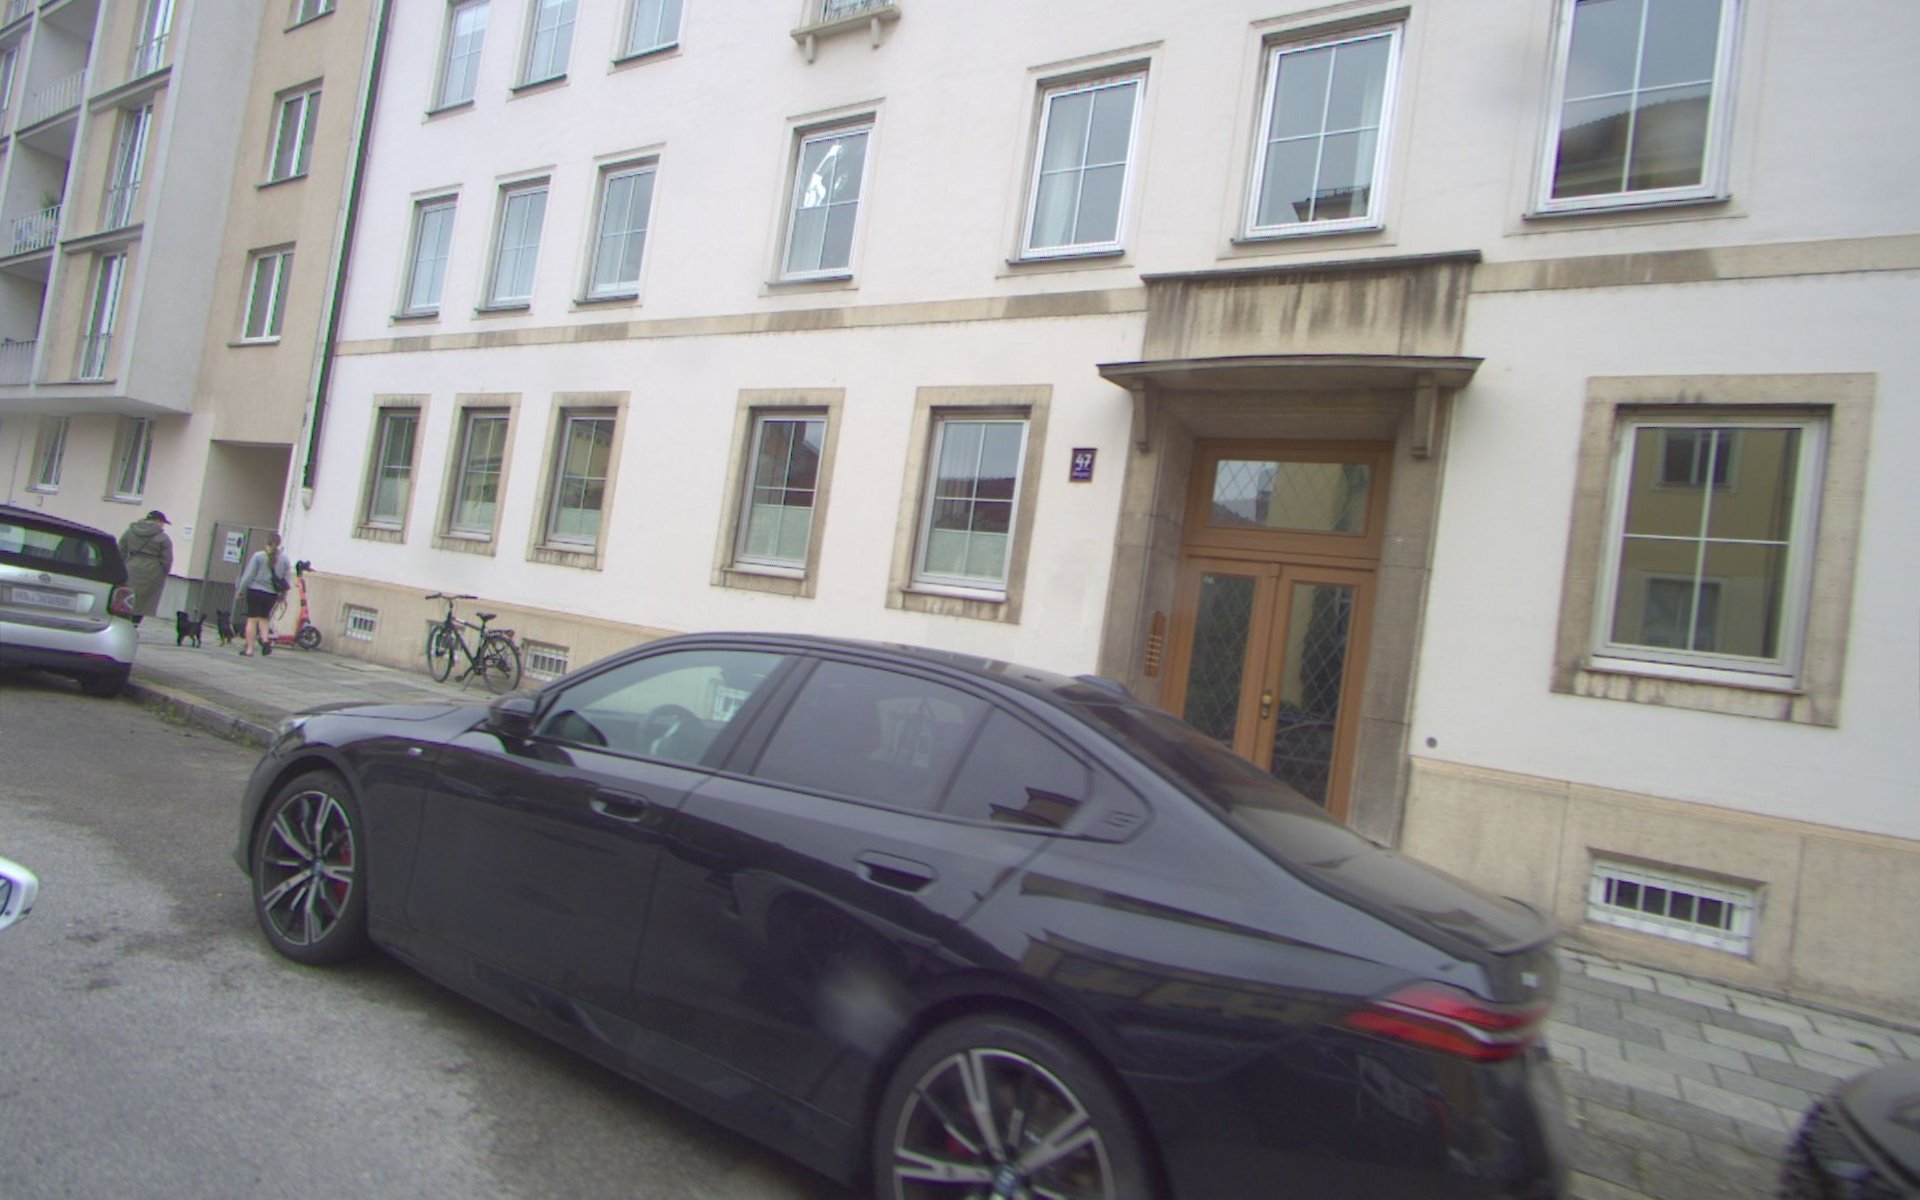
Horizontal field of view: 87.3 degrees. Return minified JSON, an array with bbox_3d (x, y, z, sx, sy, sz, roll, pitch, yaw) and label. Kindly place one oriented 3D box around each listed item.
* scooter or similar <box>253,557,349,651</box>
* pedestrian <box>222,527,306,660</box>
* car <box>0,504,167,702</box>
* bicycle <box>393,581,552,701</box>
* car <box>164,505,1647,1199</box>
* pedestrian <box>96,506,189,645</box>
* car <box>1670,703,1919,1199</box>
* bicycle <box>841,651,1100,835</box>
[{"bbox_3d":[-9.536,0.061,14.571,1.020,1.267,0.601,4,-2,23],"label":"scooter or similar"},{"bbox_3d":[-8.948,-0.077,12.940,0.551,1.603,0.532,7,-1,31],"label":"pedestrian"},{"bbox_3d":[-9.481,-0.177,9.549,3.817,1.549,1.678,7,-5,32],"label":"car"},{"bbox_3d":[-5.943,0.482,12.224,1.994,1.176,0.660,7,-1,32],"label":"bicycle"},{"bbox_3d":[-0.559,0.786,3.645,4.734,1.560,1.863,7,-5,30],"label":"car"},{"bbox_3d":[-10.502,-0.310,12.922,0.620,1.674,0.597,7,0,31],"label":"pedestrian"},{"bbox_3d":[3.473,1.301,1.089,4.201,1.600,1.784,7,-4,32],"label":"car"},{"bbox_3d":[0.058,1.144,8.418,1.994,1.139,0.660,7,-1,32],"label":"bicycle"}]
